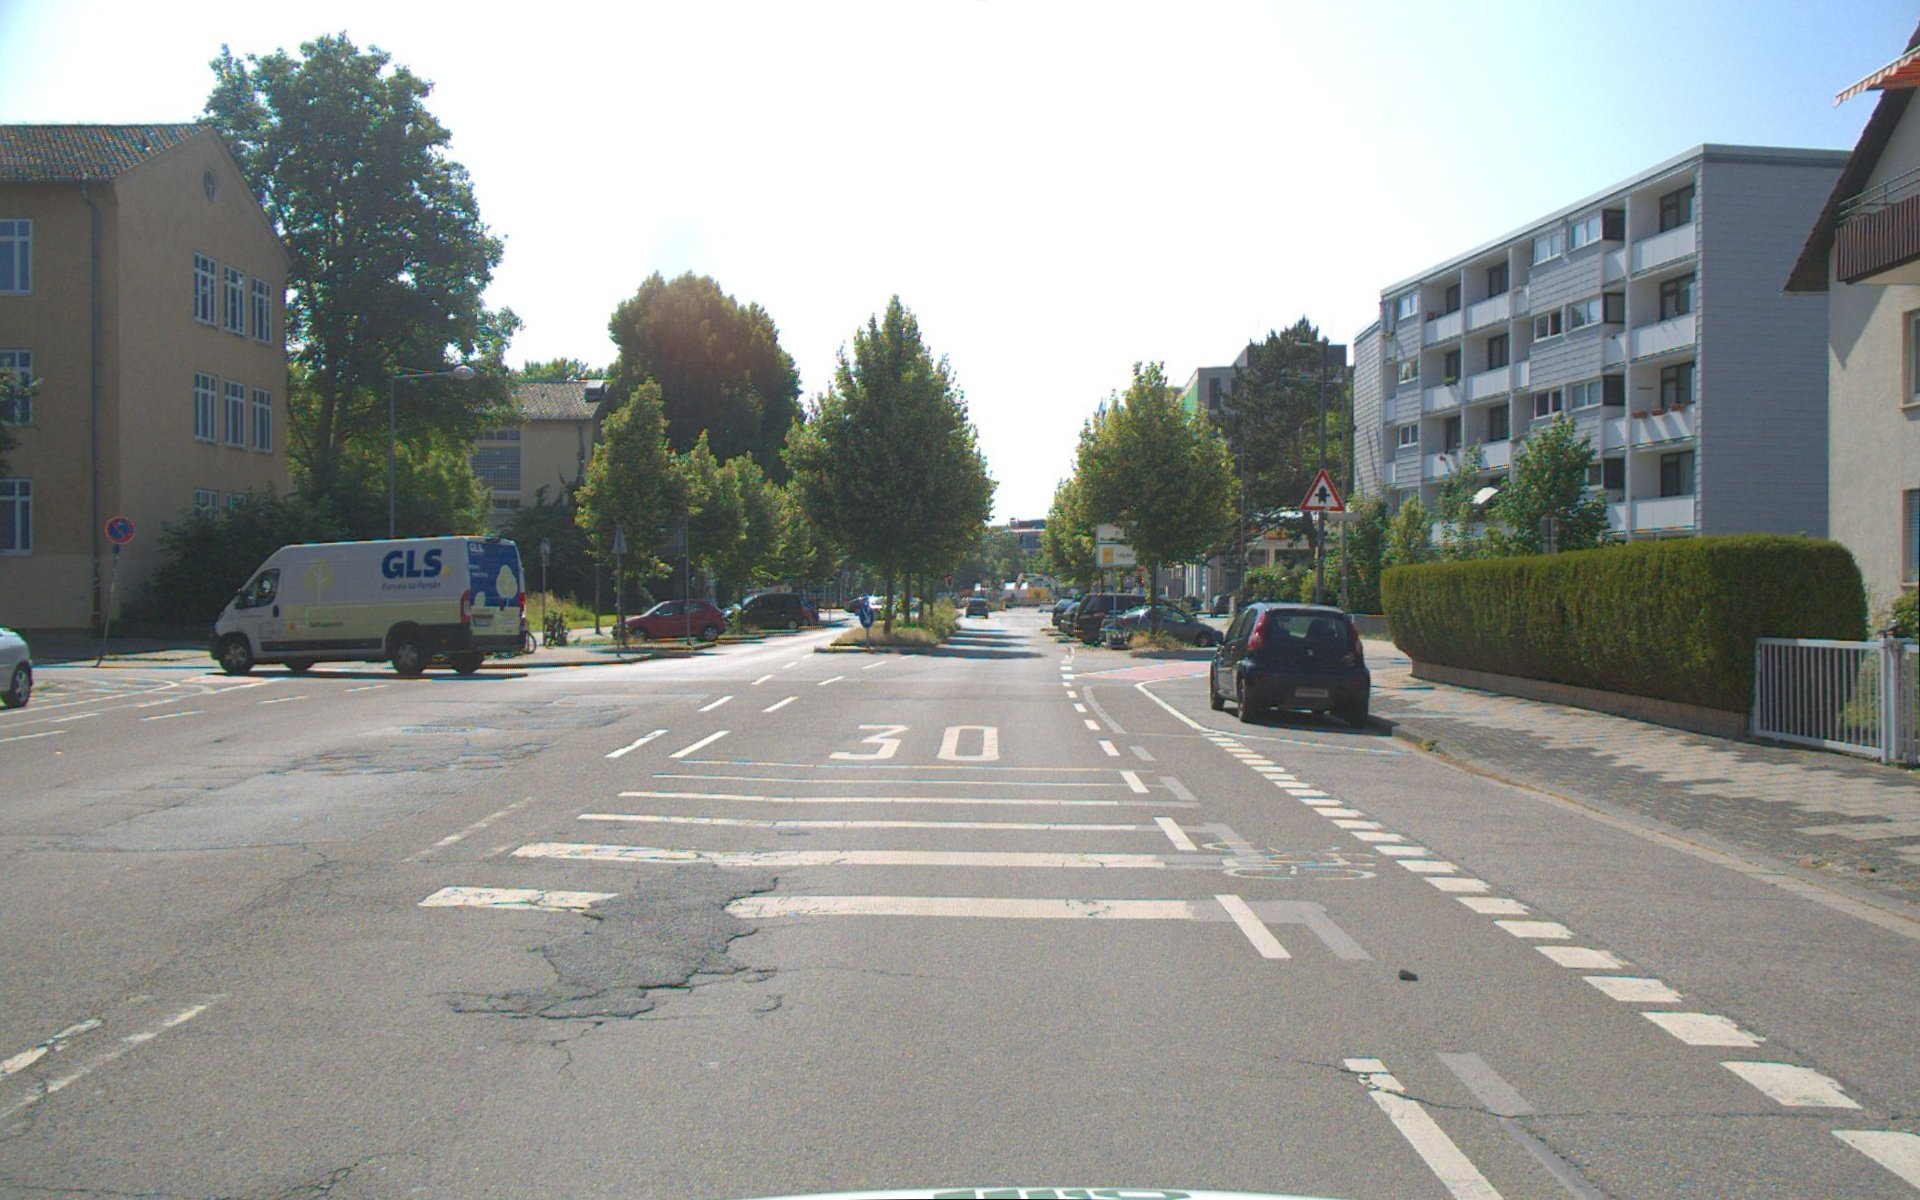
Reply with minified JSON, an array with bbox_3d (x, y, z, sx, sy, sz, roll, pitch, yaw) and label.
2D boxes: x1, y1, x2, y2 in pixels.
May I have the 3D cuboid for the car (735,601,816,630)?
[{"bbox_3d":[-9.379,0.767,84.316,3.797,1.448,1.695,0,0,-35],"label":"car"}]

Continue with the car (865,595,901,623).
[{"bbox_3d":[-4.453,0.505,96.382,1.705,1.574,4.074,-1,0,2],"label":"car"}]

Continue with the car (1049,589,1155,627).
[{"bbox_3d":[6.352,0.342,73.752,4.686,1.689,1.733,0,0,-33],"label":"car"}]

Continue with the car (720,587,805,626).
[{"bbox_3d":[-9.518,0.314,79.758,3.717,1.803,1.803,0,0,-27],"label":"car"}]

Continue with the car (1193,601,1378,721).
[{"bbox_3d":[4.190,0.738,21.830,1.584,1.414,3.999,1,0,-1],"label":"car"}]

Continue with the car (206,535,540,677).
[{"bbox_3d":[-11.502,0.135,32.452,5.986,2.568,2.284,-1,0,18],"label":"car"}]

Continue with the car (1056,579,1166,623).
[{"bbox_3d":[5.890,0.029,64.596,3.927,1.668,1.743,0,1,-19],"label":"car"}]

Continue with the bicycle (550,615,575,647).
[{"bbox_3d":[-11.834,0.914,49.251,0.510,0.919,1.270,-1,0,-3],"label":"bicycle"}]

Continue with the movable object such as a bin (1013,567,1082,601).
[{"bbox_3d":[12.028,-2.205,227.927,9.473,4.629,3.165,0,0,3],"label":"movable object such as a bin"}]

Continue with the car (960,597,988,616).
[{"bbox_3d":[1.050,0.451,125.755,1.953,1.422,3.998,0,0,-2],"label":"car"}]

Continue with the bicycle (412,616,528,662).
[{"bbox_3d":[-11.557,0.912,39.054,2.493,1.005,0.739,-1,1,-1],"label":"bicycle"}]

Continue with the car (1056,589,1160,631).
[{"bbox_3d":[6.024,0.400,67.536,3.915,1.668,1.748,0,0,-11],"label":"car"}]

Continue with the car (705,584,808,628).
[{"bbox_3d":[-9.046,0.228,73.730,4.143,1.848,1.978,-1,1,-37],"label":"car"}]

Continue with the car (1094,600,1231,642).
[{"bbox_3d":[6.275,0.627,51.353,3.936,1.258,1.739,0,0,-25],"label":"car"}]

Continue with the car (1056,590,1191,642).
[{"bbox_3d":[5.374,0.503,54.293,4.067,1.668,2.022,0,0,-32],"label":"car"}]

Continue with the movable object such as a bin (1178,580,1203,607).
[{"bbox_3d":[14.713,-0.405,105.547,1.281,1.620,1.395,-3,0,-1],"label":"movable object such as a bin"}]

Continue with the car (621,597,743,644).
[{"bbox_3d":[-9.705,0.698,57.648,3.928,1.492,1.989,-2,1,-20],"label":"car"}]

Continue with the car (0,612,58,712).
[{"bbox_3d":[-13.501,0.855,21.515,1.687,1.289,3.995,-1,1,-6],"label":"car"}]
